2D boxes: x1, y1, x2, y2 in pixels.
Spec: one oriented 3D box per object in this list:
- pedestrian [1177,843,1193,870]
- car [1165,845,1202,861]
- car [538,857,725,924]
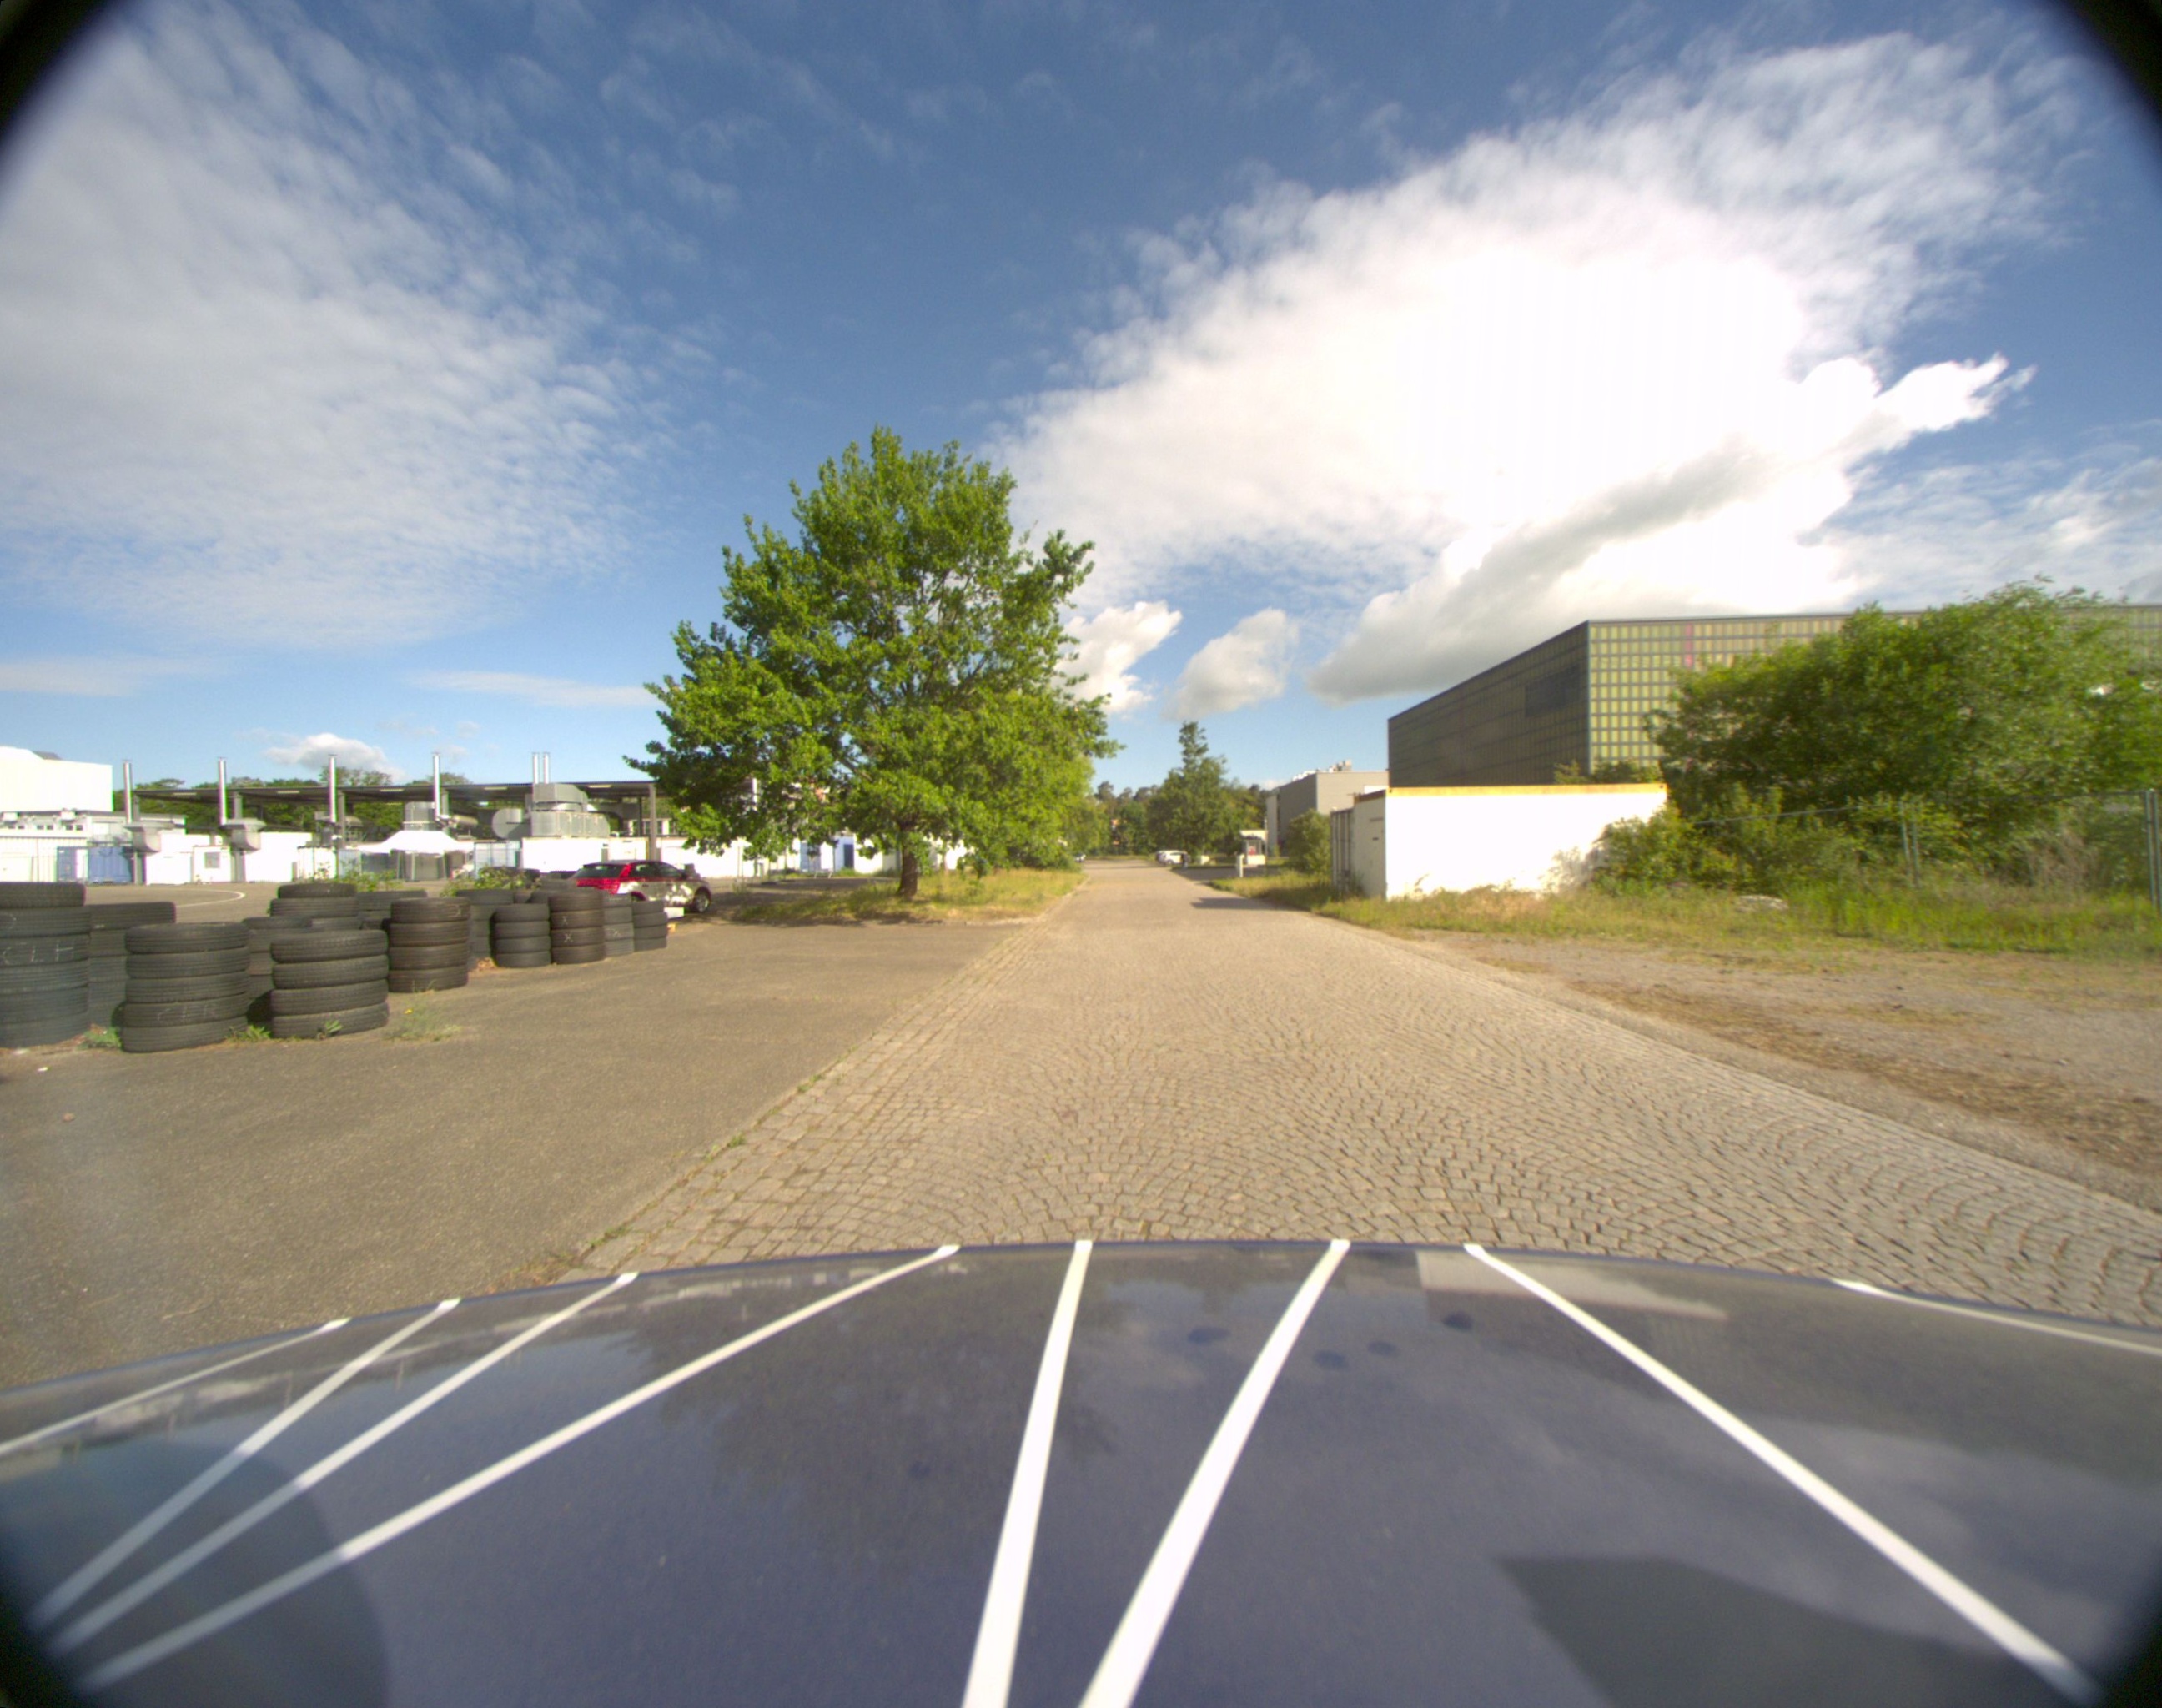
[{"bbox_3d":[7.134,0.160,52.049,0.908,1.797,0.983,-1,1,-4],"label":"pedestrian"},{"bbox_3d":[11.257,-0.099,83.681,3.995,1.678,2.001,-1,1,6],"label":"car"},{"bbox_3d":[-10.999,0.832,18.972,1.846,1.440,4.002,-1,1,9],"label":"car"}]
